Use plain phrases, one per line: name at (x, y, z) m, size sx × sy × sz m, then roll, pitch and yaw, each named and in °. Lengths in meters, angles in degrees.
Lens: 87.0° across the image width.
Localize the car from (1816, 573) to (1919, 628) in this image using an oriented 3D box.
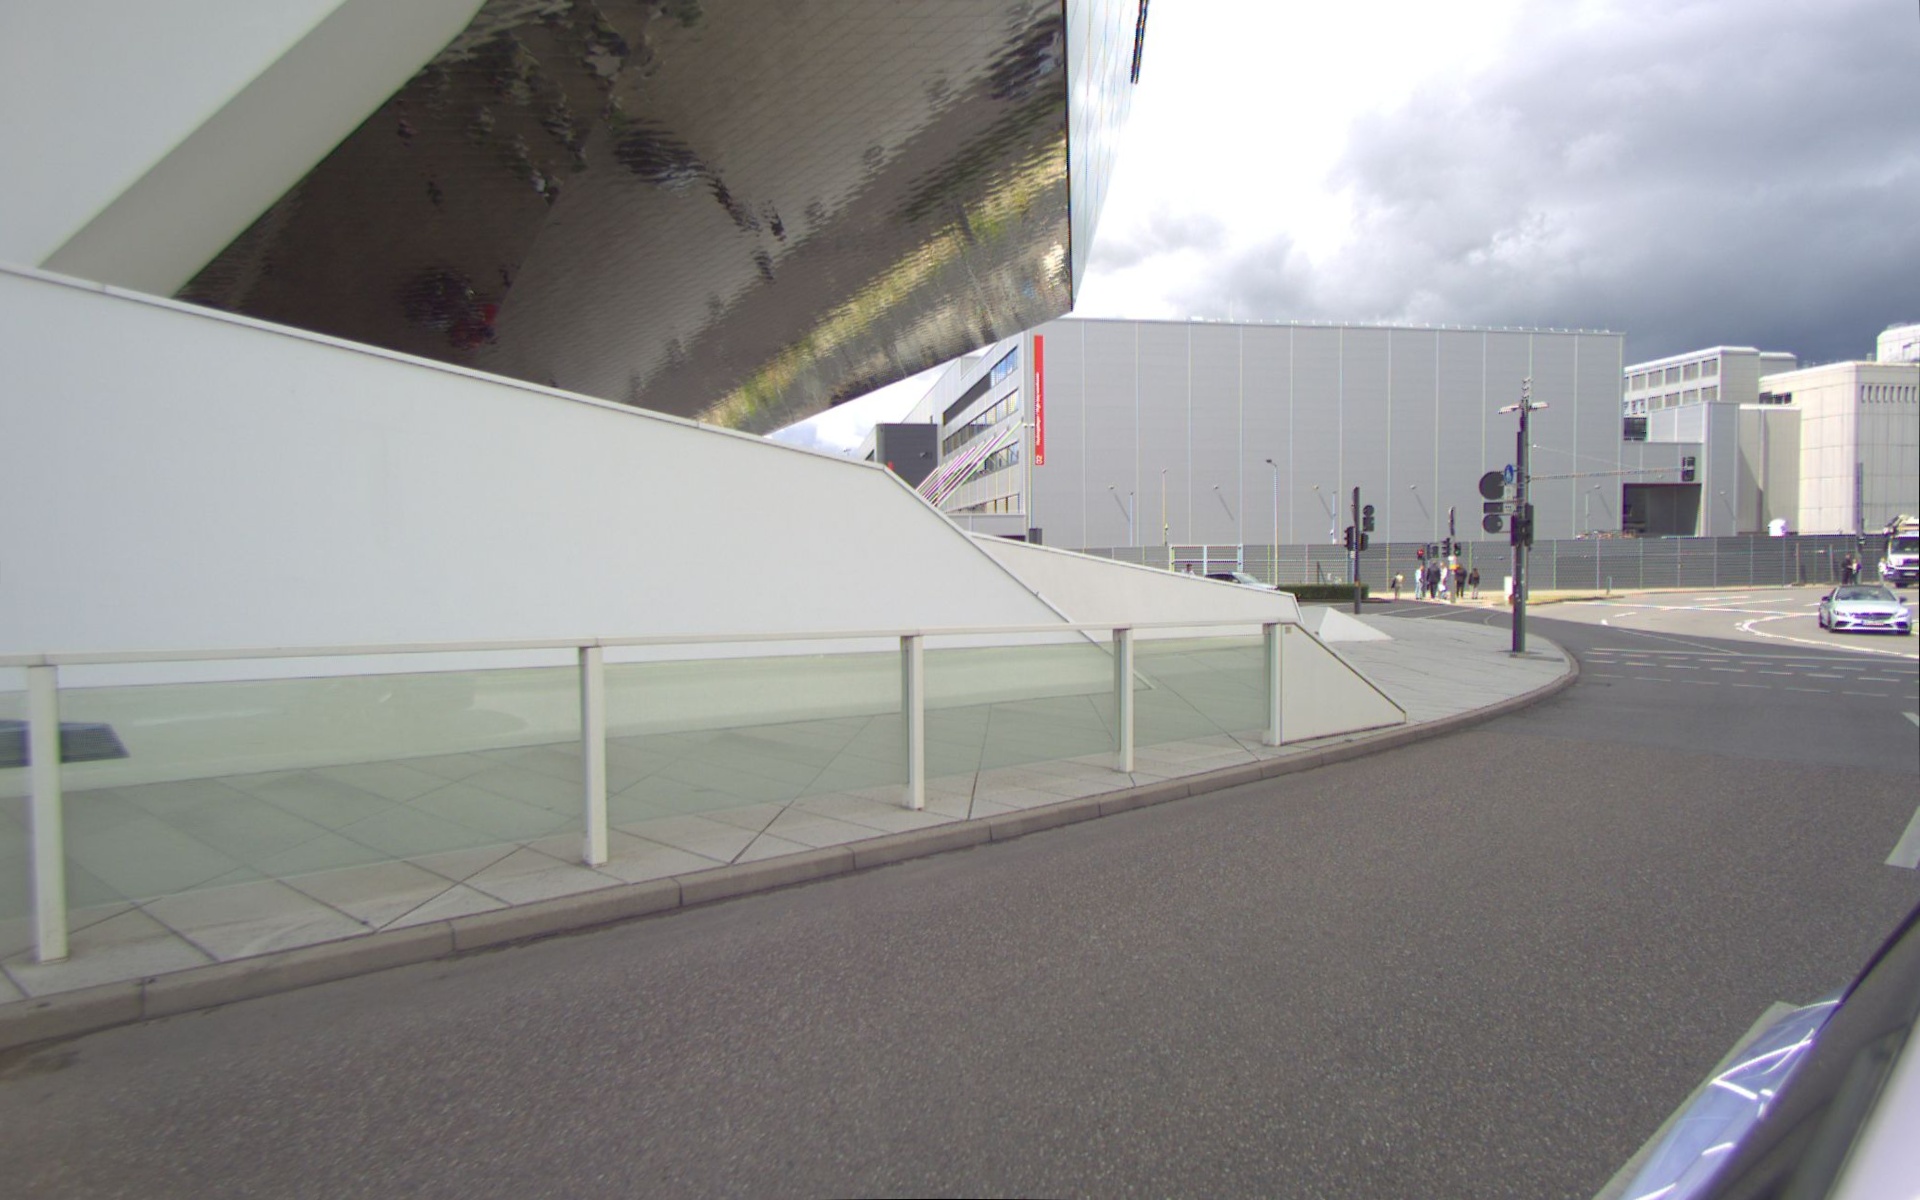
car at (27.901, -0.044, 30.921) m, size 2.035 × 1.504 × 4.729 m, roll 1°, pitch 3°, yaw 33°

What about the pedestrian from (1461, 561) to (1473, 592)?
pedestrian at (26.101, -1.204, 52.097) m, size 0.420 × 1.572 × 0.388 m, roll 1°, pitch 2°, yaw 14°

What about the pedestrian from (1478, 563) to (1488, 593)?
pedestrian at (26.876, -1.140, 51.989) m, size 0.323 × 1.499 × 0.359 m, roll 0°, pitch 2°, yaw 11°

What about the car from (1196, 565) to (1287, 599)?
car at (13.256, -0.891, 47.803) m, size 1.640 × 1.549 × 4.000 m, roll -1°, pitch 3°, yaw -36°

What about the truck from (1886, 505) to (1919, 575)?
truck at (56.187, -3.258, 55.913) m, size 10.528 × 3.736 × 2.852 m, roll -1°, pitch 2°, yaw -20°

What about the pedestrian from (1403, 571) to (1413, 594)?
pedestrian at (23.417, -0.924, 52.913) m, size 0.377 × 1.158 × 0.388 m, roll 1°, pitch 2°, yaw 14°

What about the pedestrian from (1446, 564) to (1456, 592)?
pedestrian at (25.291, -1.150, 52.093) m, size 0.377 × 1.423 × 0.388 m, roll 1°, pitch 2°, yaw 14°

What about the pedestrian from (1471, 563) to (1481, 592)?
pedestrian at (26.513, -1.172, 52.041) m, size 0.355 × 1.499 × 0.402 m, roll 0°, pitch 2°, yaw 13°

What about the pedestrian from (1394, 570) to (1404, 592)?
pedestrian at (23.048, -0.995, 53.107) m, size 0.377 × 1.158 × 0.388 m, roll 1°, pitch 2°, yaw 14°

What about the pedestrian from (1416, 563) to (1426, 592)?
pedestrian at (23.995, -1.153, 52.633) m, size 0.377 × 1.490 × 0.388 m, roll 1°, pitch 2°, yaw 14°

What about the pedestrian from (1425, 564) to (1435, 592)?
pedestrian at (24.365, -1.146, 52.410) m, size 0.377 × 1.475 × 0.388 m, roll 1°, pitch 2°, yaw 14°

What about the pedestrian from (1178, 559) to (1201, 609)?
pedestrian at (8.223, -0.575, 36.263) m, size 0.589 × 1.765 × 0.560 m, roll -1°, pitch 2°, yaw -38°
